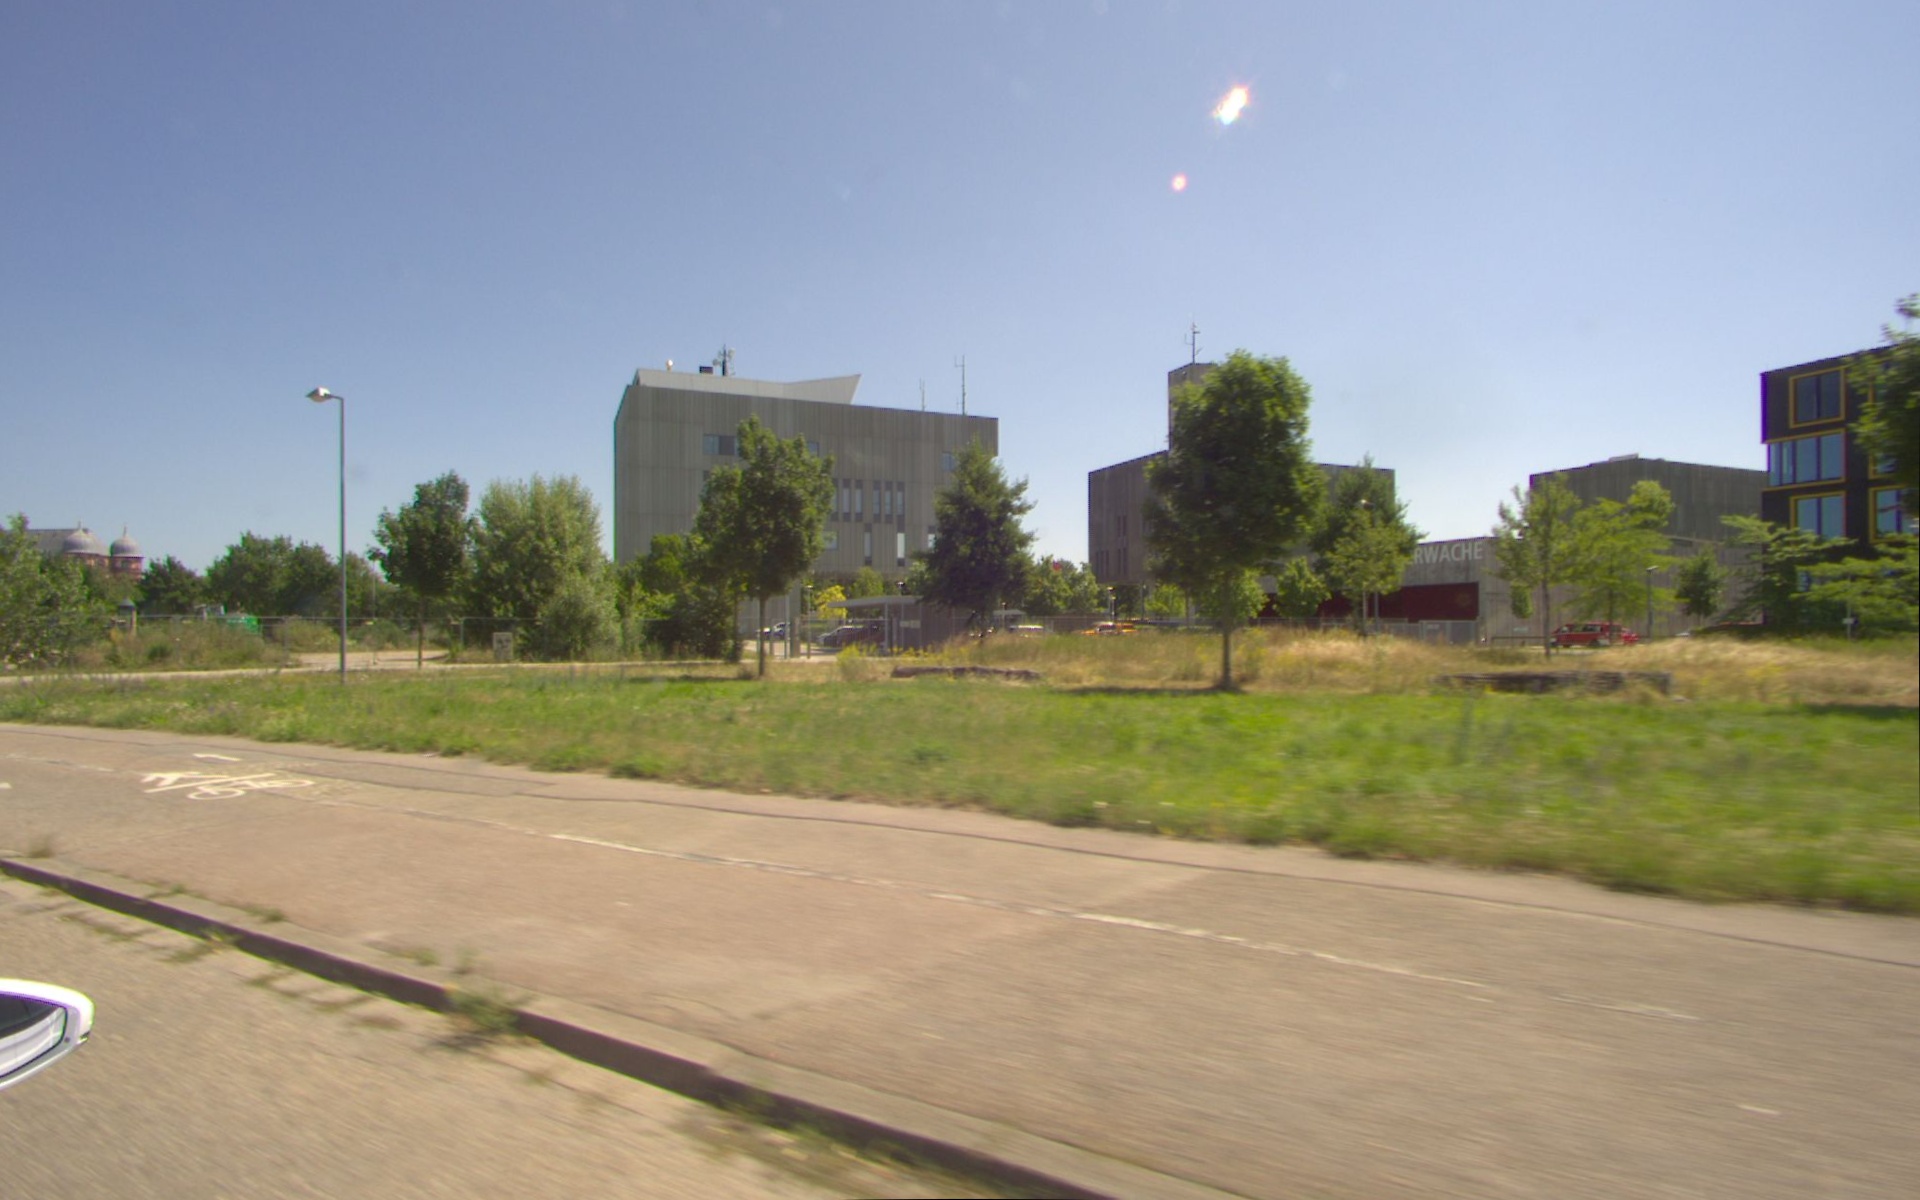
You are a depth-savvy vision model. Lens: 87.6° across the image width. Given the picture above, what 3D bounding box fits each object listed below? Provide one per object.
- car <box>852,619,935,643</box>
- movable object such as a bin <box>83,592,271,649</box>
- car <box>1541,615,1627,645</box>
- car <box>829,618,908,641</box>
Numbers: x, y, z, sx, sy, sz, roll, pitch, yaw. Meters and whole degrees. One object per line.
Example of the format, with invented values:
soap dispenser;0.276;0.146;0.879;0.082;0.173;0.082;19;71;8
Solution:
car;-4.158;1.913;62.410;4.833;1.455;1.996;0;-1;-19
movable object such as a bin;-48.968;1.309;62.643;10.294;3.302;4.942;-1;-1;23
car;46.155;2.217;74.233;2.200;2.142;5.147;0;-2;-22
car;-6.268;1.995;68.440;4.999;1.455;1.993;0;-1;-25
